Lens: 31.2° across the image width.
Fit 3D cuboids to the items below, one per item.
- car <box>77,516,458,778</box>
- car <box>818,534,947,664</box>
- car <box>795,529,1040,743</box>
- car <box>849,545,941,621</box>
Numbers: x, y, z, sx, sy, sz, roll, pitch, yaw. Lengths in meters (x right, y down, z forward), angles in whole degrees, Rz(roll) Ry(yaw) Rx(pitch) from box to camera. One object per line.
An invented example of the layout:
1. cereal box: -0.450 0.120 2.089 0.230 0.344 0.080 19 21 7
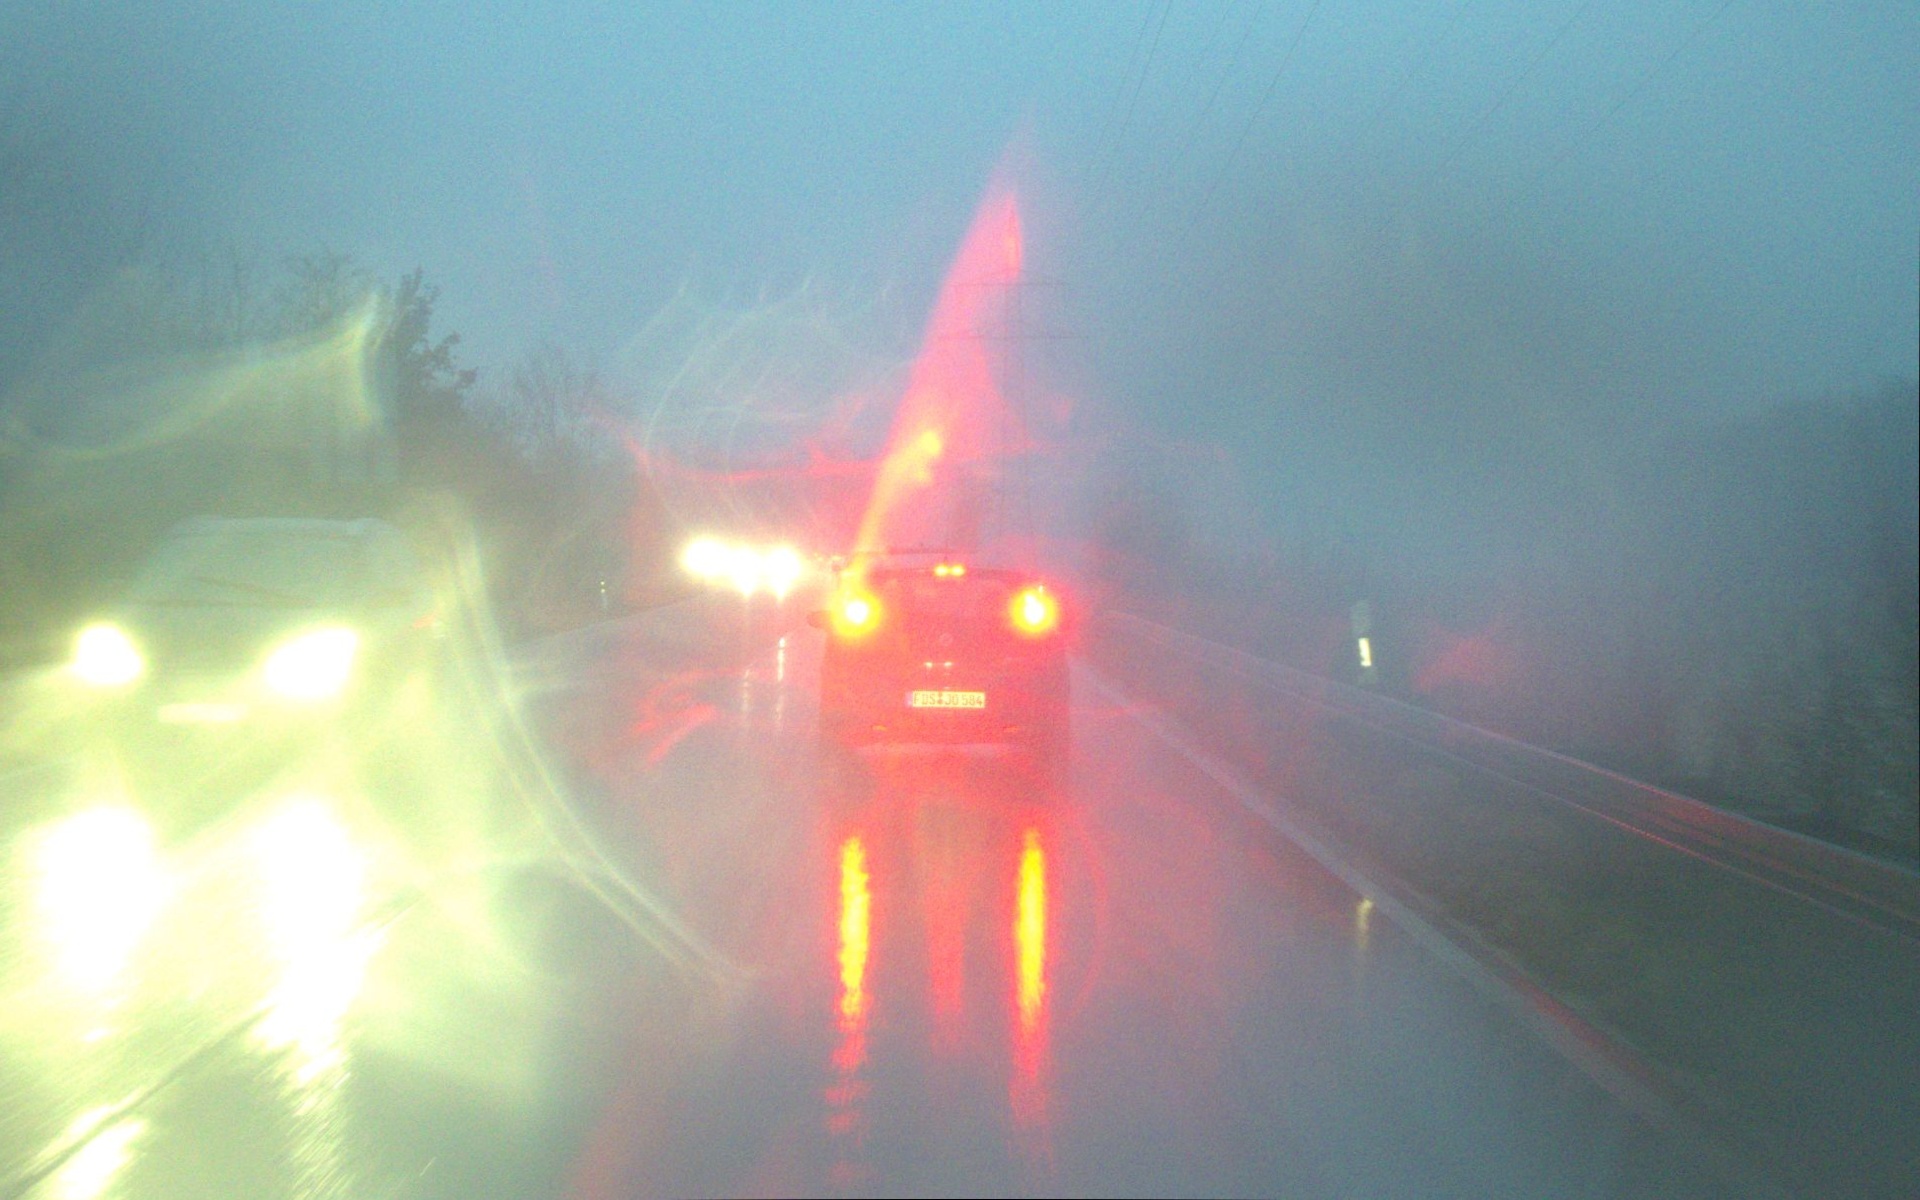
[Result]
1. car: -4.620 0.253 23.505 1.735 1.608 4.212 1 1 0
2. car: -1.294 -0.034 55.768 1.852 2.007 4.001 1 1 -4
3. car: -0.355 0.220 24.289 1.500 1.393 3.200 1 1 -4
4. car: -1.455 -0.387 75.402 1.769 1.585 4.165 1 1 -4
